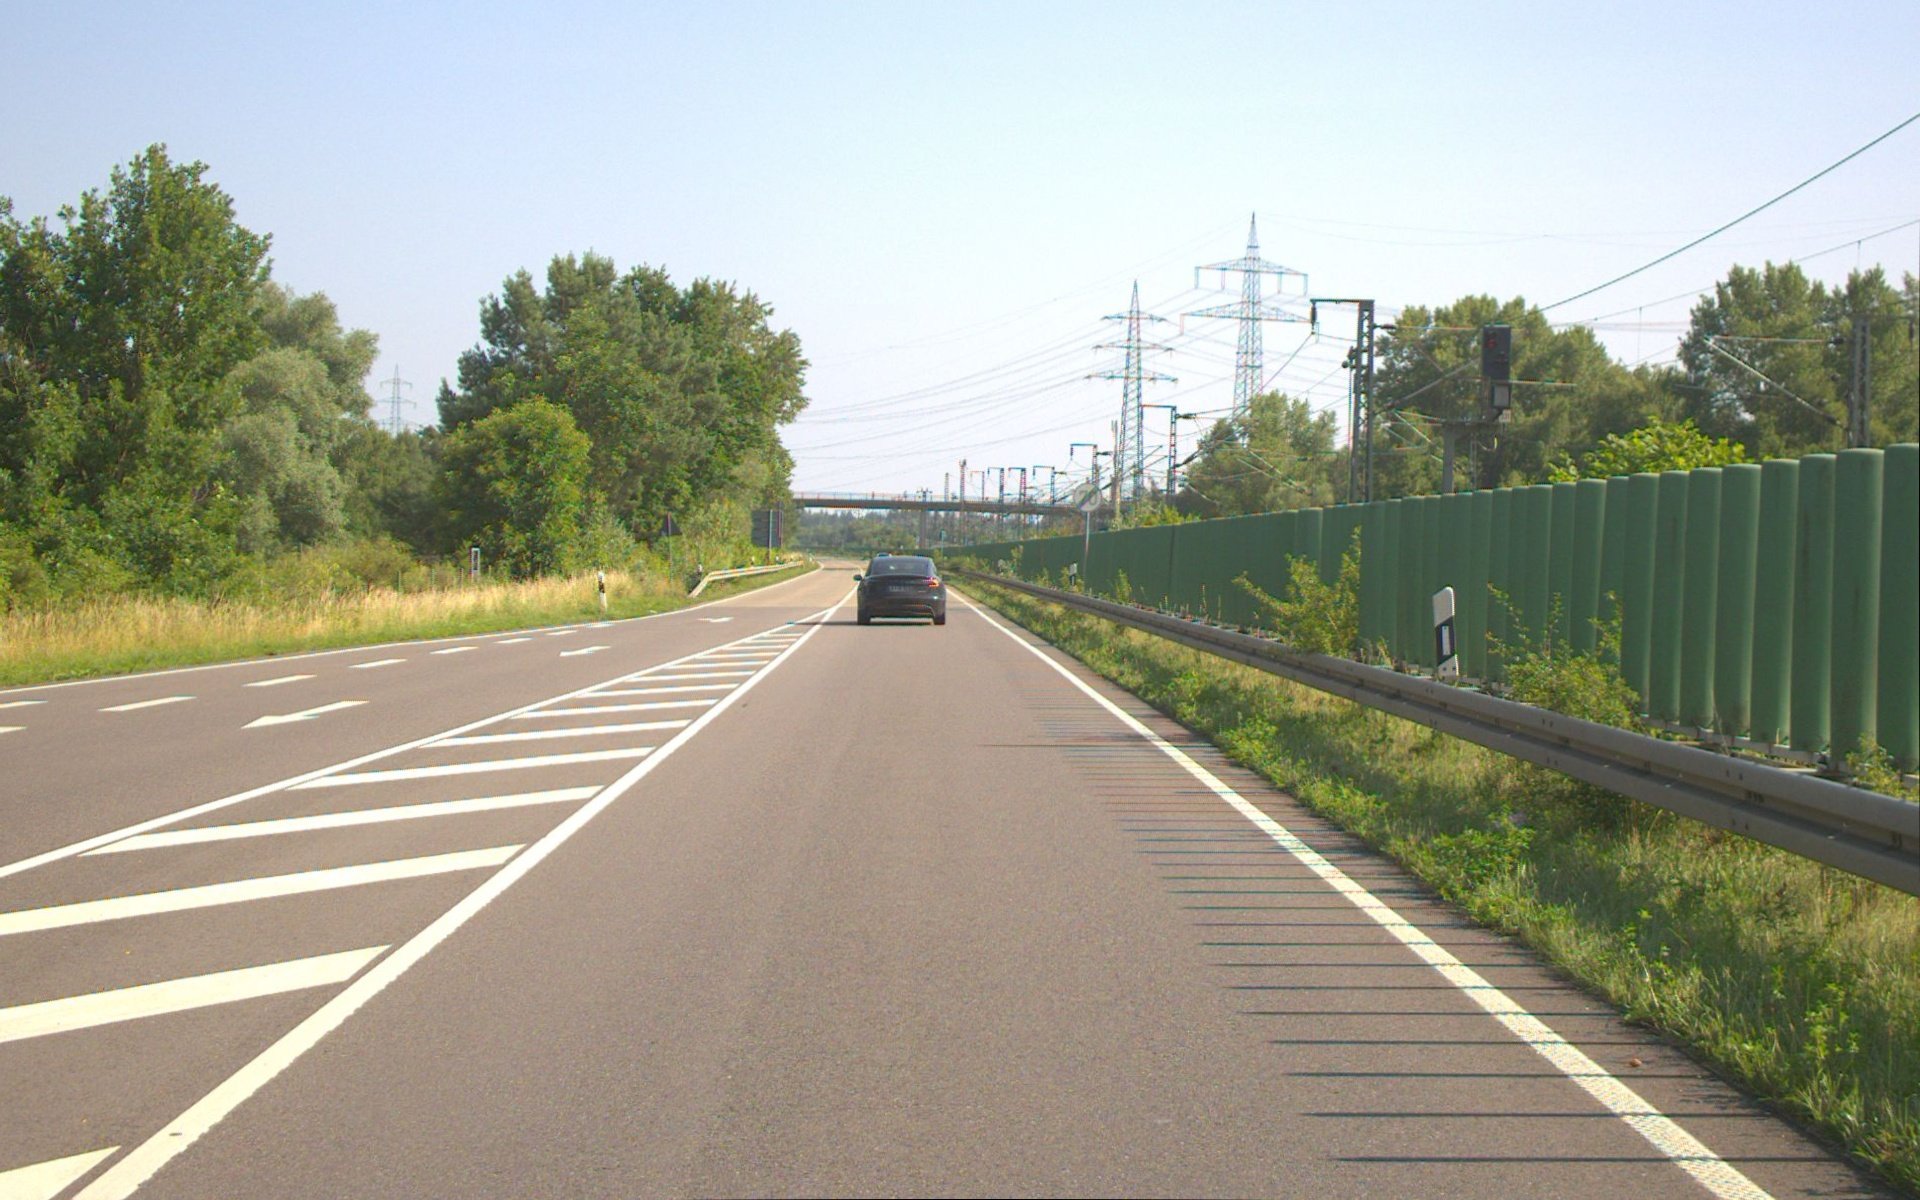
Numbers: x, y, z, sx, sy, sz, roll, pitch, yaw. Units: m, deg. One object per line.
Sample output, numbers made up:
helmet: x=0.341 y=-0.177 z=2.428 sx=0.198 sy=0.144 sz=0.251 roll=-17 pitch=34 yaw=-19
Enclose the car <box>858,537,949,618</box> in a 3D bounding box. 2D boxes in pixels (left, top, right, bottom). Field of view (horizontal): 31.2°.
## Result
car: x=-1.162 y=-0.488 z=72.351 sx=1.858 sy=1.636 sz=4.000 roll=-1 pitch=1 yaw=0
